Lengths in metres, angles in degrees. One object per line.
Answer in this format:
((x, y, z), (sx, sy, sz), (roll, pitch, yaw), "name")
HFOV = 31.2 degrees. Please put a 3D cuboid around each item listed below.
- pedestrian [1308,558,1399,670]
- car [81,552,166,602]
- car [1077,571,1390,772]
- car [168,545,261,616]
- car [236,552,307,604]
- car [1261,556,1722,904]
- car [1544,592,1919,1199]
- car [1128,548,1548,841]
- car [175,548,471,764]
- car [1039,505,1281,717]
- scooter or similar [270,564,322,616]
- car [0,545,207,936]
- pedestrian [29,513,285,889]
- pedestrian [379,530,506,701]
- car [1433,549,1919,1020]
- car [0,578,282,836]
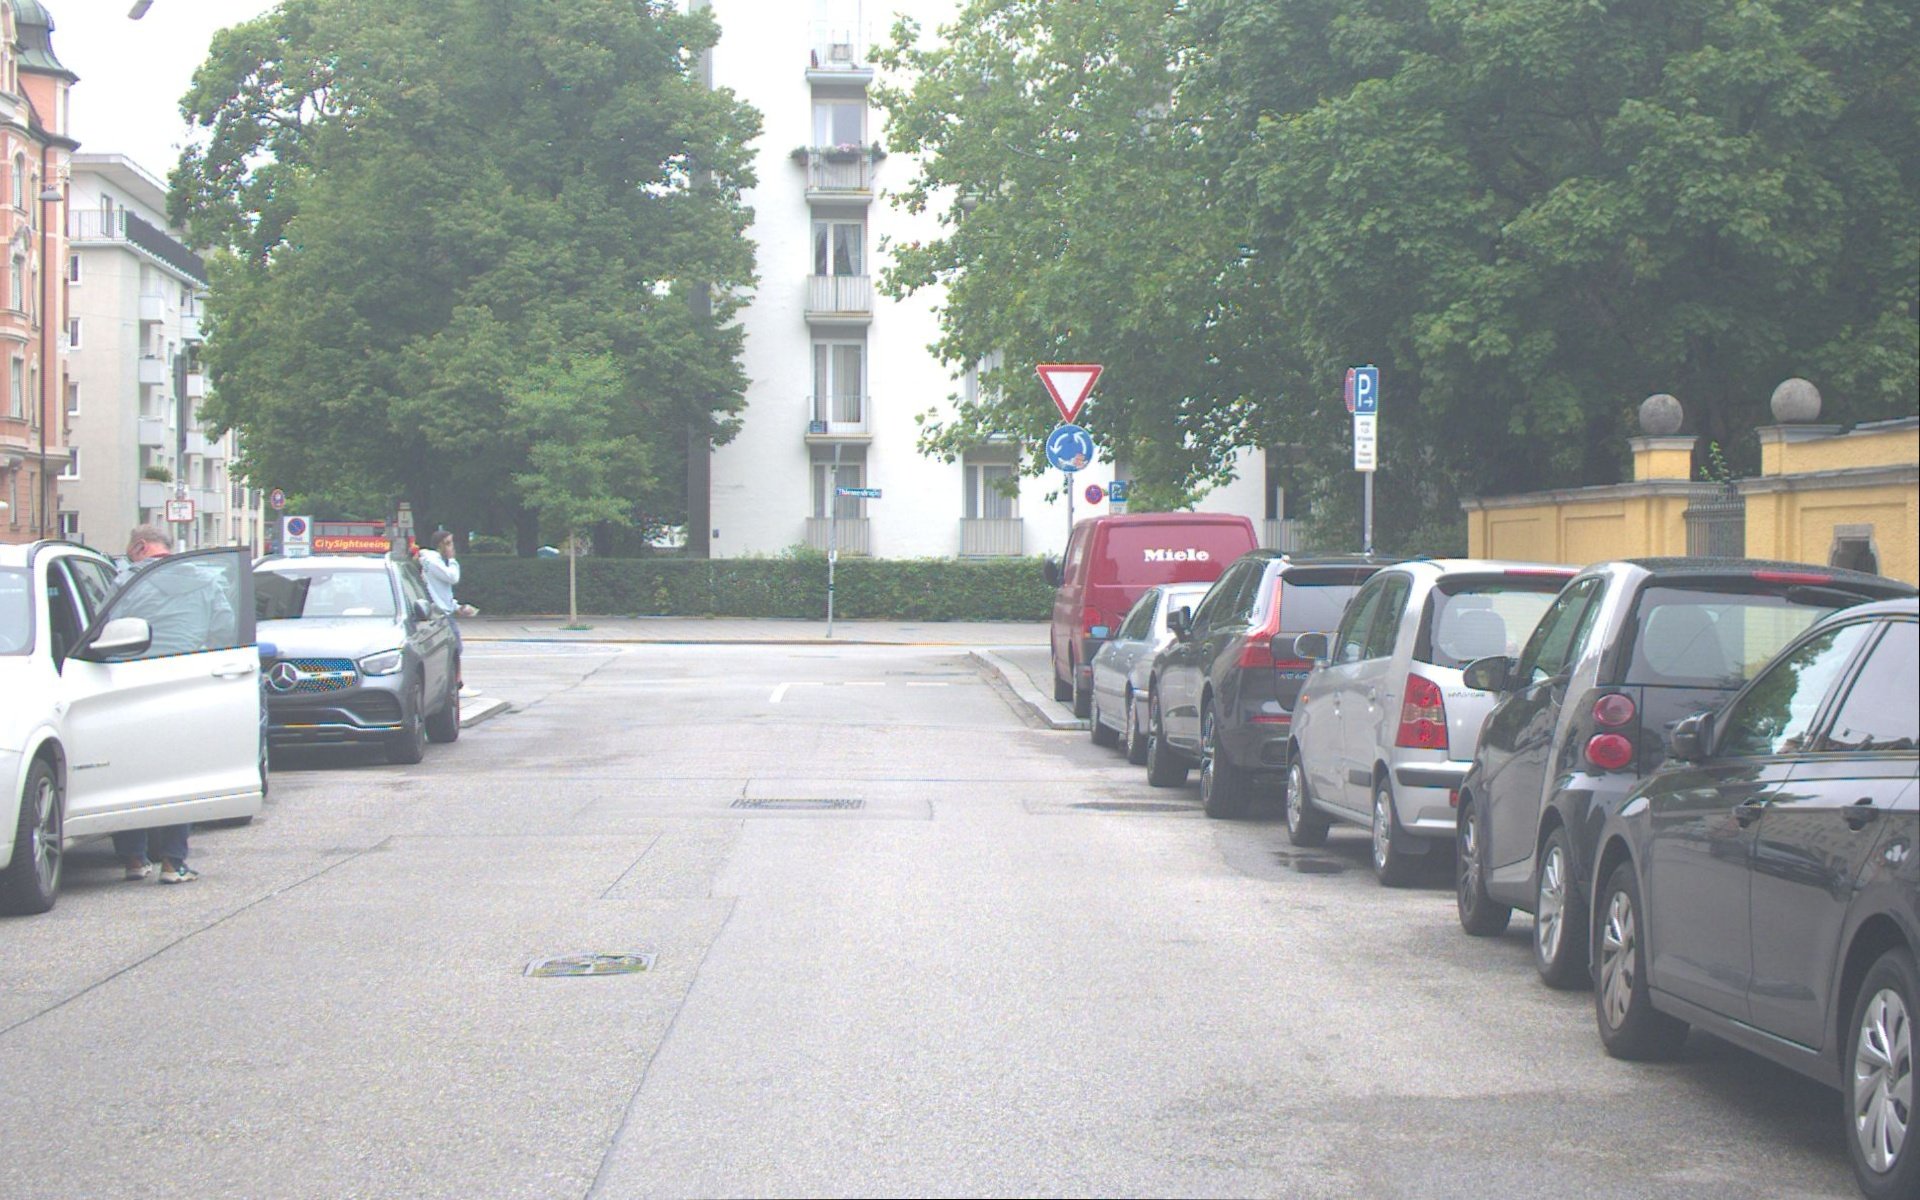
((4.741, 0.163, 41.431), (1.009, 1.333, 0.876), (0, 1, 2), "pedestrian")
((-27.782, -0.781, 114.313), (1.975, 1.575, 4.408), (1, 1, -3), "car")
((2.180, 0.536, 28.599), (1.884, 1.443, 4.369), (2, 1, -4), "car")
((-16.400, -0.455, 75.782), (1.818, 1.500, 4.423), (-1, 1, -10), "car")
((-20.454, -0.670, 102.243), (1.834, 1.500, 4.116), (-1, 1, -8), "car")
((2.606, 0.577, 17.624), (1.484, 1.534, 3.693), (2, 1, -4), "car")
((2.850, 0.737, 9.133), (1.691, 1.410, 4.037), (2, 1, -2), "car")
((2.331, 0.519, 22.502), (1.884, 1.647, 4.824), (2, 1, -3), "car")
((-5.111, 0.393, 28.113), (1.746, 1.597, 4.497), (-1, 1, -3), "car")
((1.914, 0.072, 34.323), (1.873, 1.914, 4.888), (2, 1, -2), "car")
((-14.133, -0.212, 73.221), (0.999, 1.085, 0.390), (1, 1, -32), "scooter or similar")
((-4.848, 0.558, 16.259), (1.746, 1.597, 4.497), (-1, 1, -3), "car")
((-3.886, 0.466, 16.616), (0.961, 1.750, 0.877), (0, 1, -31), "pedestrian")
((-5.467, 0.155, 36.300), (1.048, 1.765, 0.876), (0, 1, -34), "pedestrian")
((2.807, 0.620, 13.196), (1.508, 1.560, 2.869), (2, 1, 0), "car")
((-5.111, 0.587, 21.138), (1.691, 1.410, 3.664), (-1, 1, -9), "car")
